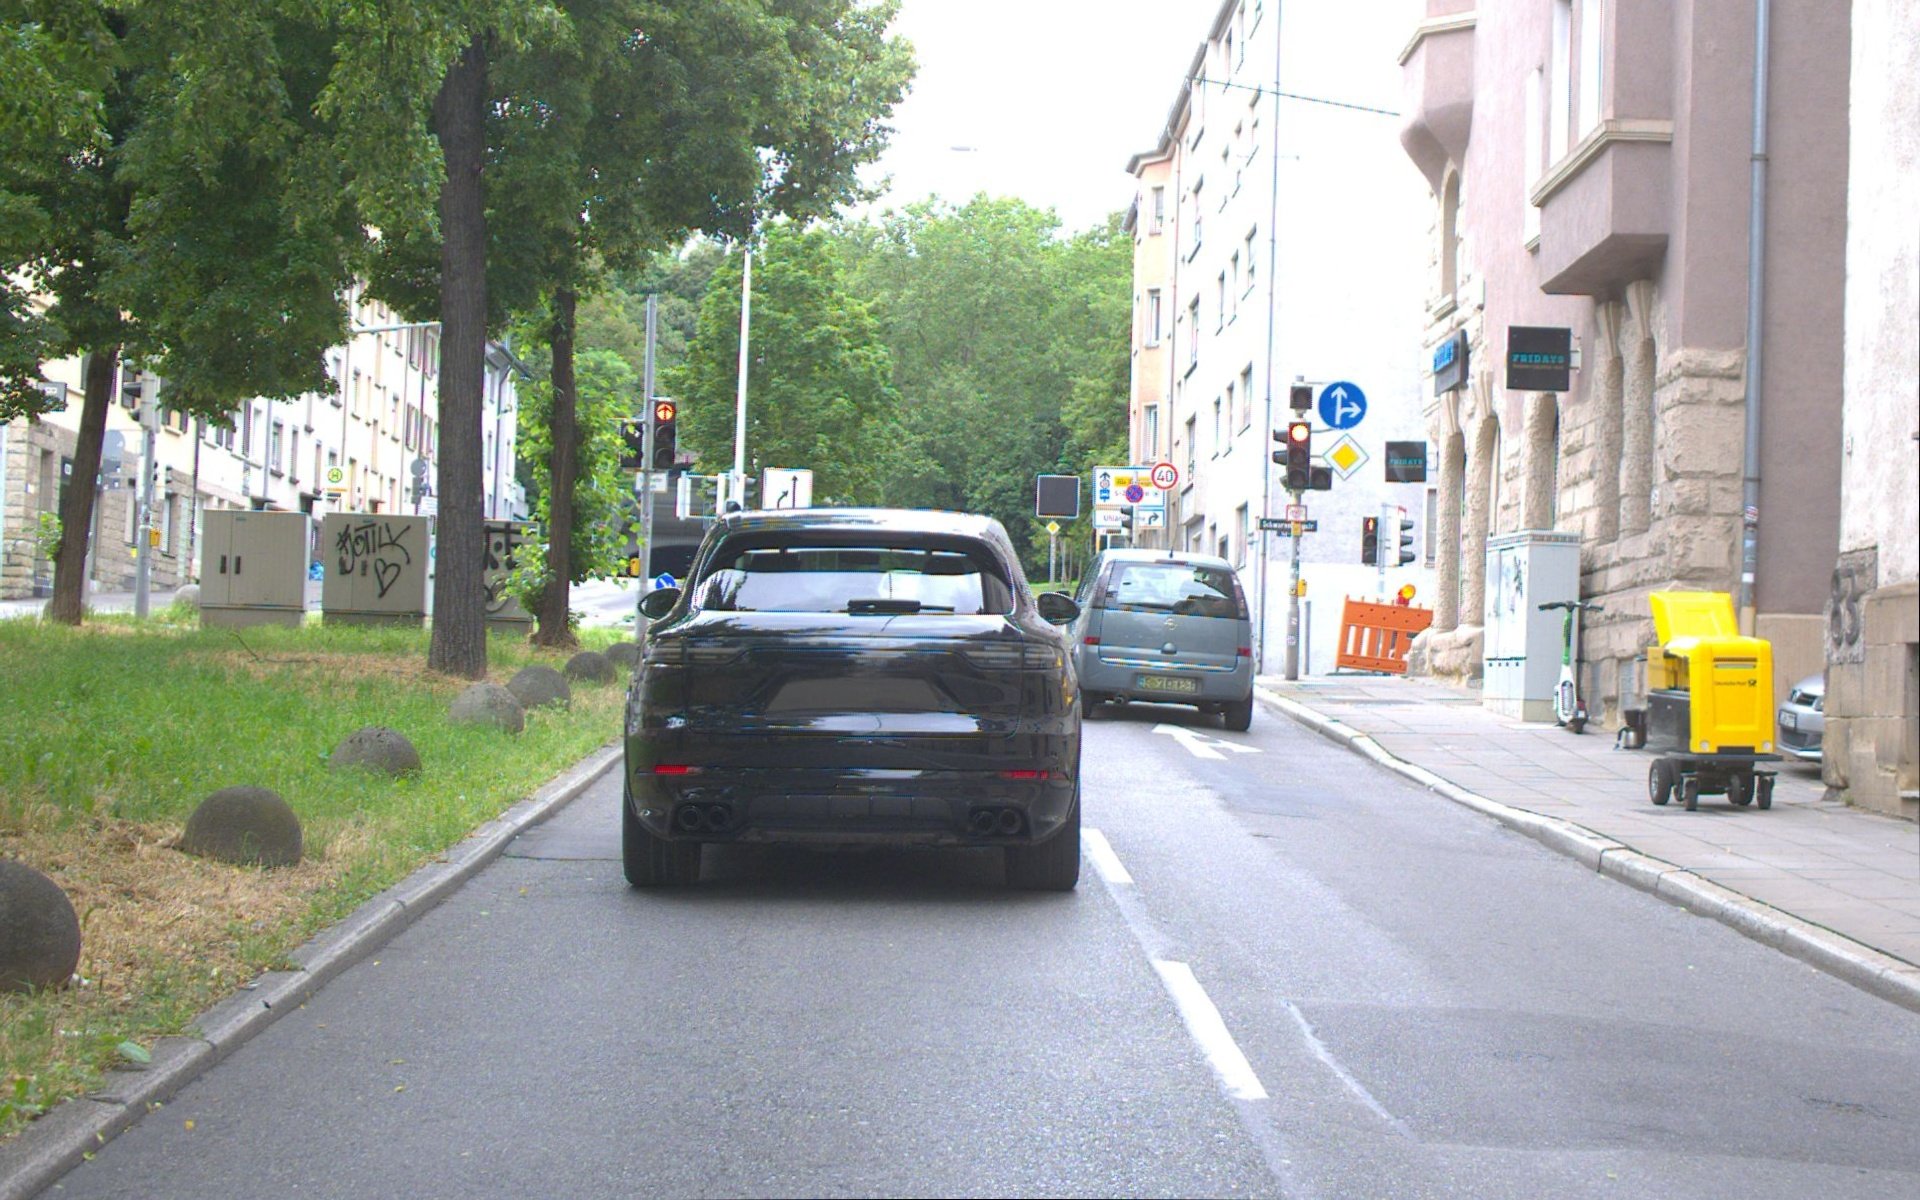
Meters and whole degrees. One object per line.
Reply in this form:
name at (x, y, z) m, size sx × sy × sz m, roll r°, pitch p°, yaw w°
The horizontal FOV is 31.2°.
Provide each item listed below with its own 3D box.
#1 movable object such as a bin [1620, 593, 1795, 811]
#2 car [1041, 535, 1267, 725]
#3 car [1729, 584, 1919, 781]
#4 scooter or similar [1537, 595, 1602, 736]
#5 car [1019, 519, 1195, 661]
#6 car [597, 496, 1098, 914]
movable object such as a bin at (5.063, 0.672, 23.384) m, size 0.719 × 1.416 × 1.693 m, roll 1°, pitch 0°, yaw -3°
car at (1.791, 0.235, 32.768) m, size 1.752 × 1.588 × 3.631 m, roll 4°, pitch 1°, yaw -1°
car at (8.393, 0.694, 27.548) m, size 3.987 × 1.398 × 1.800 m, roll 2°, pitch 3°, yaw 0°
scooter or similar at (5.474, 0.578, 30.917) m, size 0.401 × 1.184 × 1.354 m, roll 1°, pitch 2°, yaw 3°
car at (1.793, -0.132, 43.133) m, size 1.994 × 1.647 × 4.000 m, roll 1°, pitch 0°, yaw 0°
car at (-0.455, 0.376, 15.935) m, size 1.994 × 1.647 × 4.000 m, roll 1°, pitch 1°, yaw 0°
